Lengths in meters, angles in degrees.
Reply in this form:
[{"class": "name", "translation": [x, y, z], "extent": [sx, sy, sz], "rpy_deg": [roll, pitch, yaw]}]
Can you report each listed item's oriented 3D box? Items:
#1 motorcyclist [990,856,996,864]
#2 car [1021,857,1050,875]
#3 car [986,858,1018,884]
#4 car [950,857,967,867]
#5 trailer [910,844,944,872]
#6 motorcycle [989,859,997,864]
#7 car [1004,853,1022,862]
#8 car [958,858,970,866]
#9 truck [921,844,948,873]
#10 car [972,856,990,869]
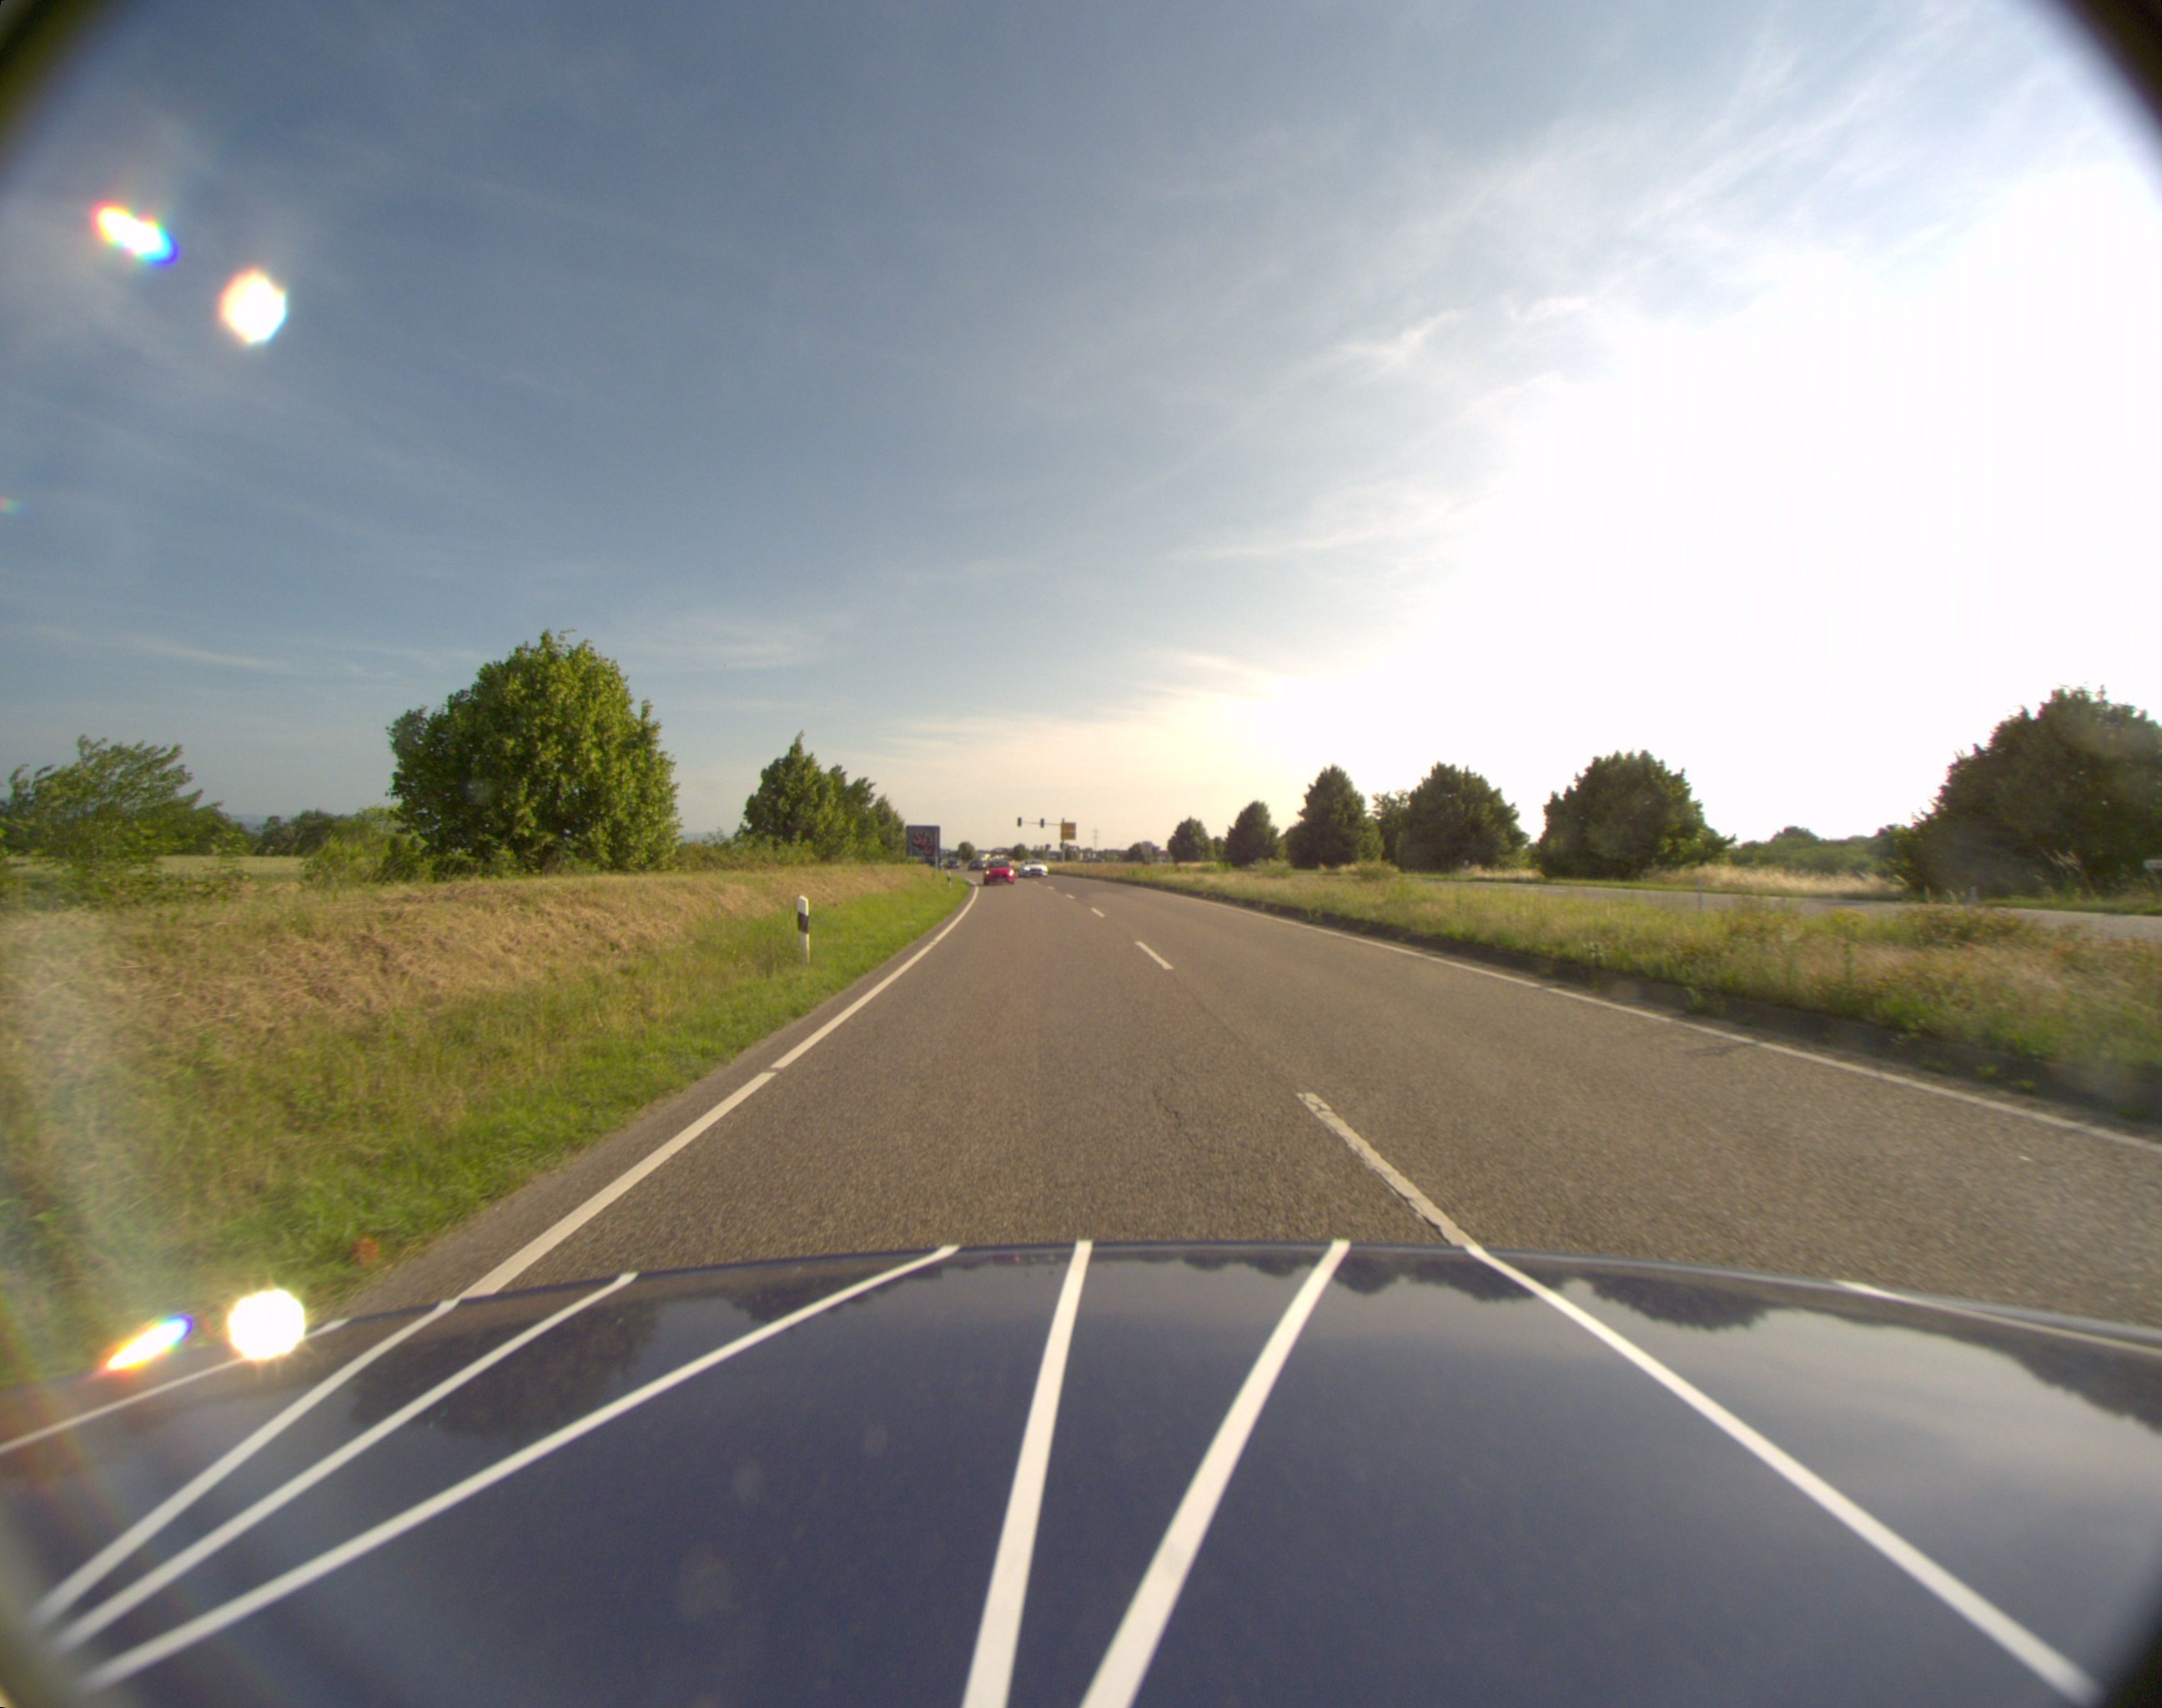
[{"class": "motorcyclist", "translation": [-16.716, 1.165, 143.889], "extent": [0.755, 1.595, 1.247], "rpy_deg": [-2, 1, -25]}, {"class": "car", "translation": [-3.694, 0.929, 60.750], "extent": [1.877, 1.390, 4.200], "rpy_deg": [-1, 0, -10]}, {"class": "car", "translation": [-4.886, 0.983, 46.441], "extent": [1.667, 1.455, 3.951], "rpy_deg": [-1, 1, -10]}, {"class": "car", "translation": [-18.713, 1.230, 115.891], "extent": [1.834, 1.521, 3.993], "rpy_deg": [-1, 0, -18]}, {"class": "trailer", "translation": [-23.737, 0.568, 116.274], "extent": [2.656, 3.956, 13.904], "rpy_deg": [-2, 1, -21]}, {"class": "motorcycle", "translation": [-16.721, 1.419, 143.887], "extent": [0.755, 1.087, 2.303], "rpy_deg": [-2, 1, -25]}, {"class": "car", "translation": [-12.069, 0.583, 133.973], "extent": [1.921, 1.556, 4.602], "rpy_deg": [-1, 0, -21]}, {"class": "car", "translation": [-24.877, 1.721, 161.529], "extent": [1.713, 1.516, 4.127], "rpy_deg": [-1, 0, -20]}, {"class": "truck", "translation": [-21.280, 0.623, 110.015], "extent": [2.656, 3.897, 5.939], "rpy_deg": [-2, 1, -22]}, {"class": "car", "translation": [-12.788, 1.043, 96.824], "extent": [1.754, 1.521, 3.994], "rpy_deg": [-1, 0, -15]}]
